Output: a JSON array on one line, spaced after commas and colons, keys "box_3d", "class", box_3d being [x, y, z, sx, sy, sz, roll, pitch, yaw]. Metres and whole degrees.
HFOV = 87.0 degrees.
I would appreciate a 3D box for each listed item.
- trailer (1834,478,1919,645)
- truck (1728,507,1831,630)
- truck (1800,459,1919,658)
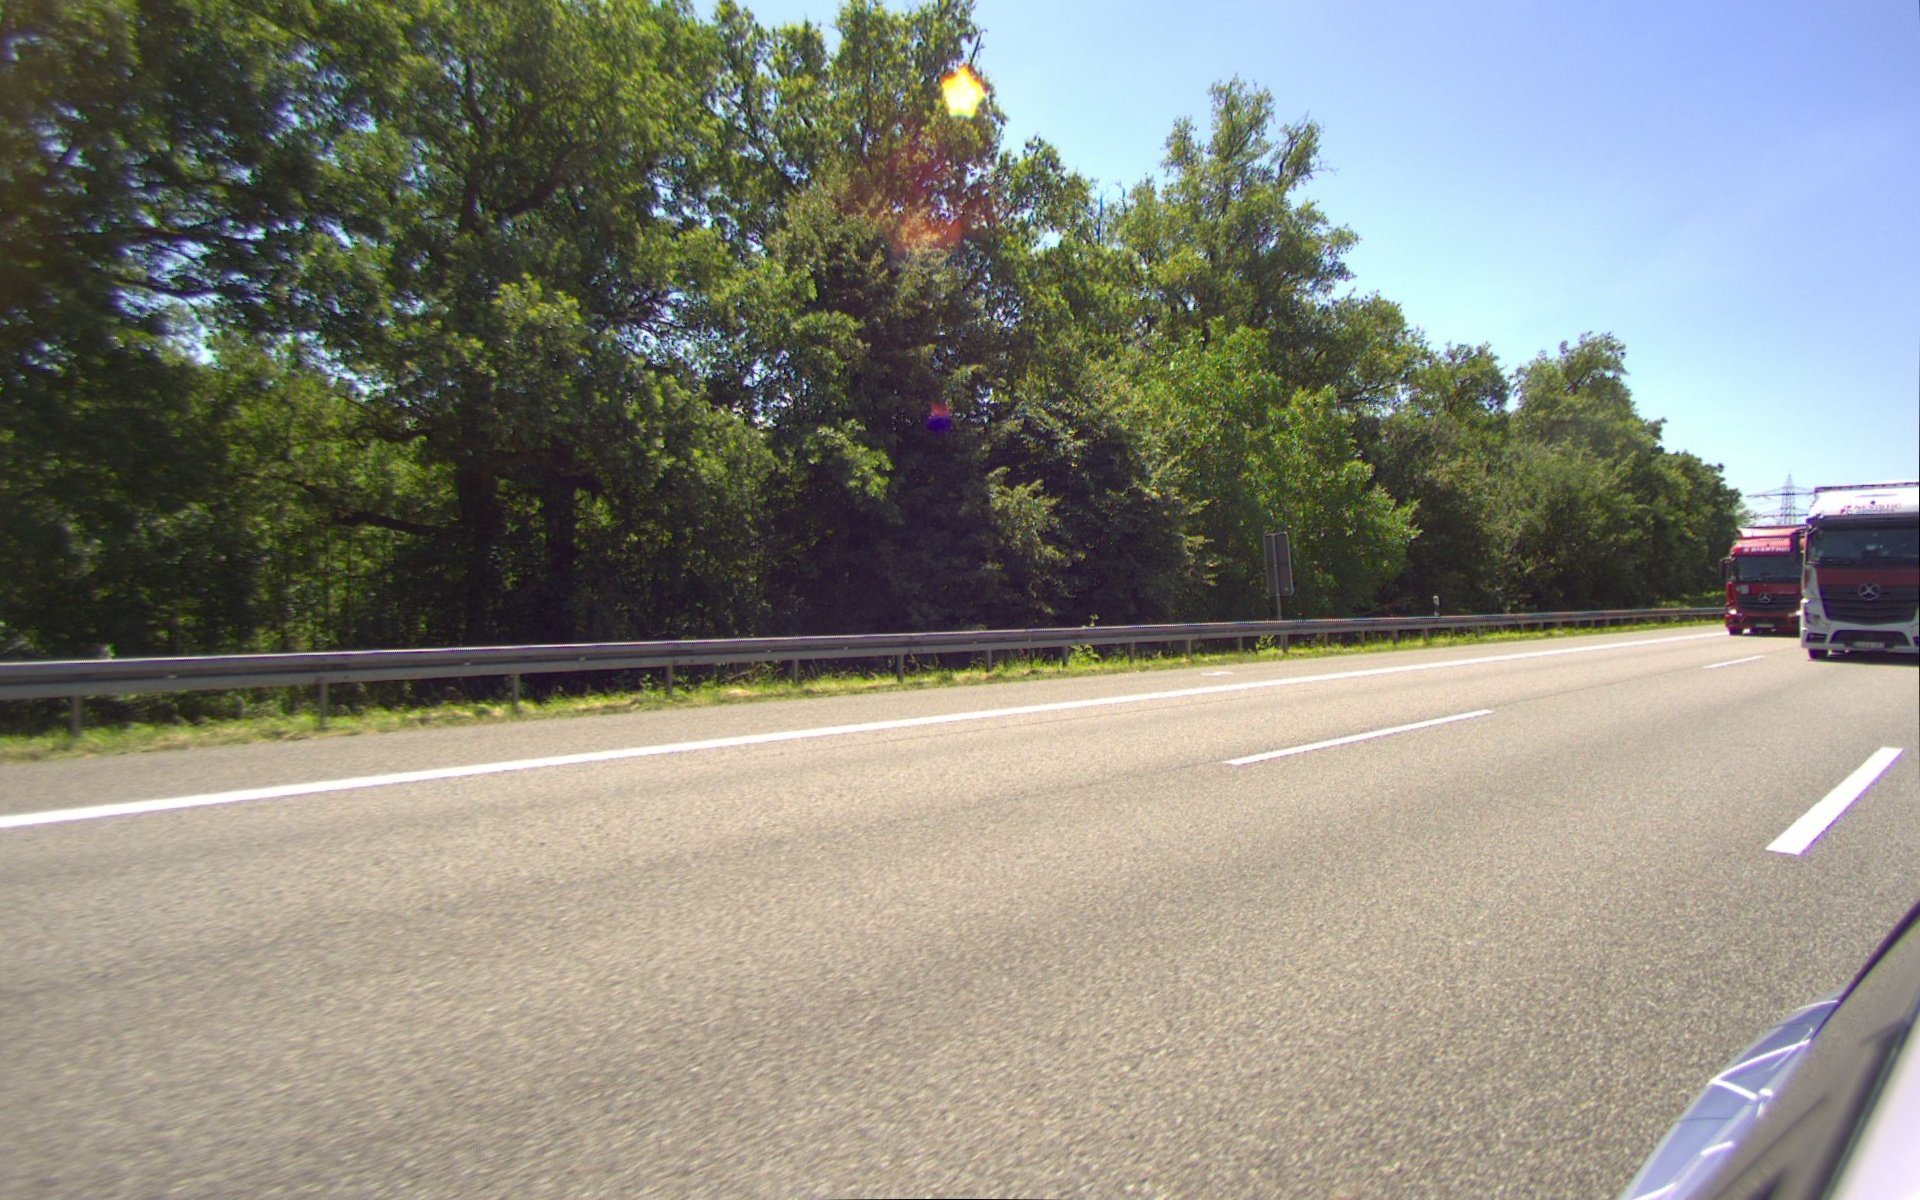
[{"box_3d": [28.788, -1.108, 30.045, 14.498, 4.119, 2.711, -2, 1, -43], "class": "trailer"}, {"box_3d": [30.508, -1.100, 37.636, 4.594, 4.284, 2.331, 0, 0, -43], "class": "truck"}, {"box_3d": [21.928, -0.931, 23.670, 6.345, 4.145, 2.703, -1, 1, -43], "class": "truck"}]
